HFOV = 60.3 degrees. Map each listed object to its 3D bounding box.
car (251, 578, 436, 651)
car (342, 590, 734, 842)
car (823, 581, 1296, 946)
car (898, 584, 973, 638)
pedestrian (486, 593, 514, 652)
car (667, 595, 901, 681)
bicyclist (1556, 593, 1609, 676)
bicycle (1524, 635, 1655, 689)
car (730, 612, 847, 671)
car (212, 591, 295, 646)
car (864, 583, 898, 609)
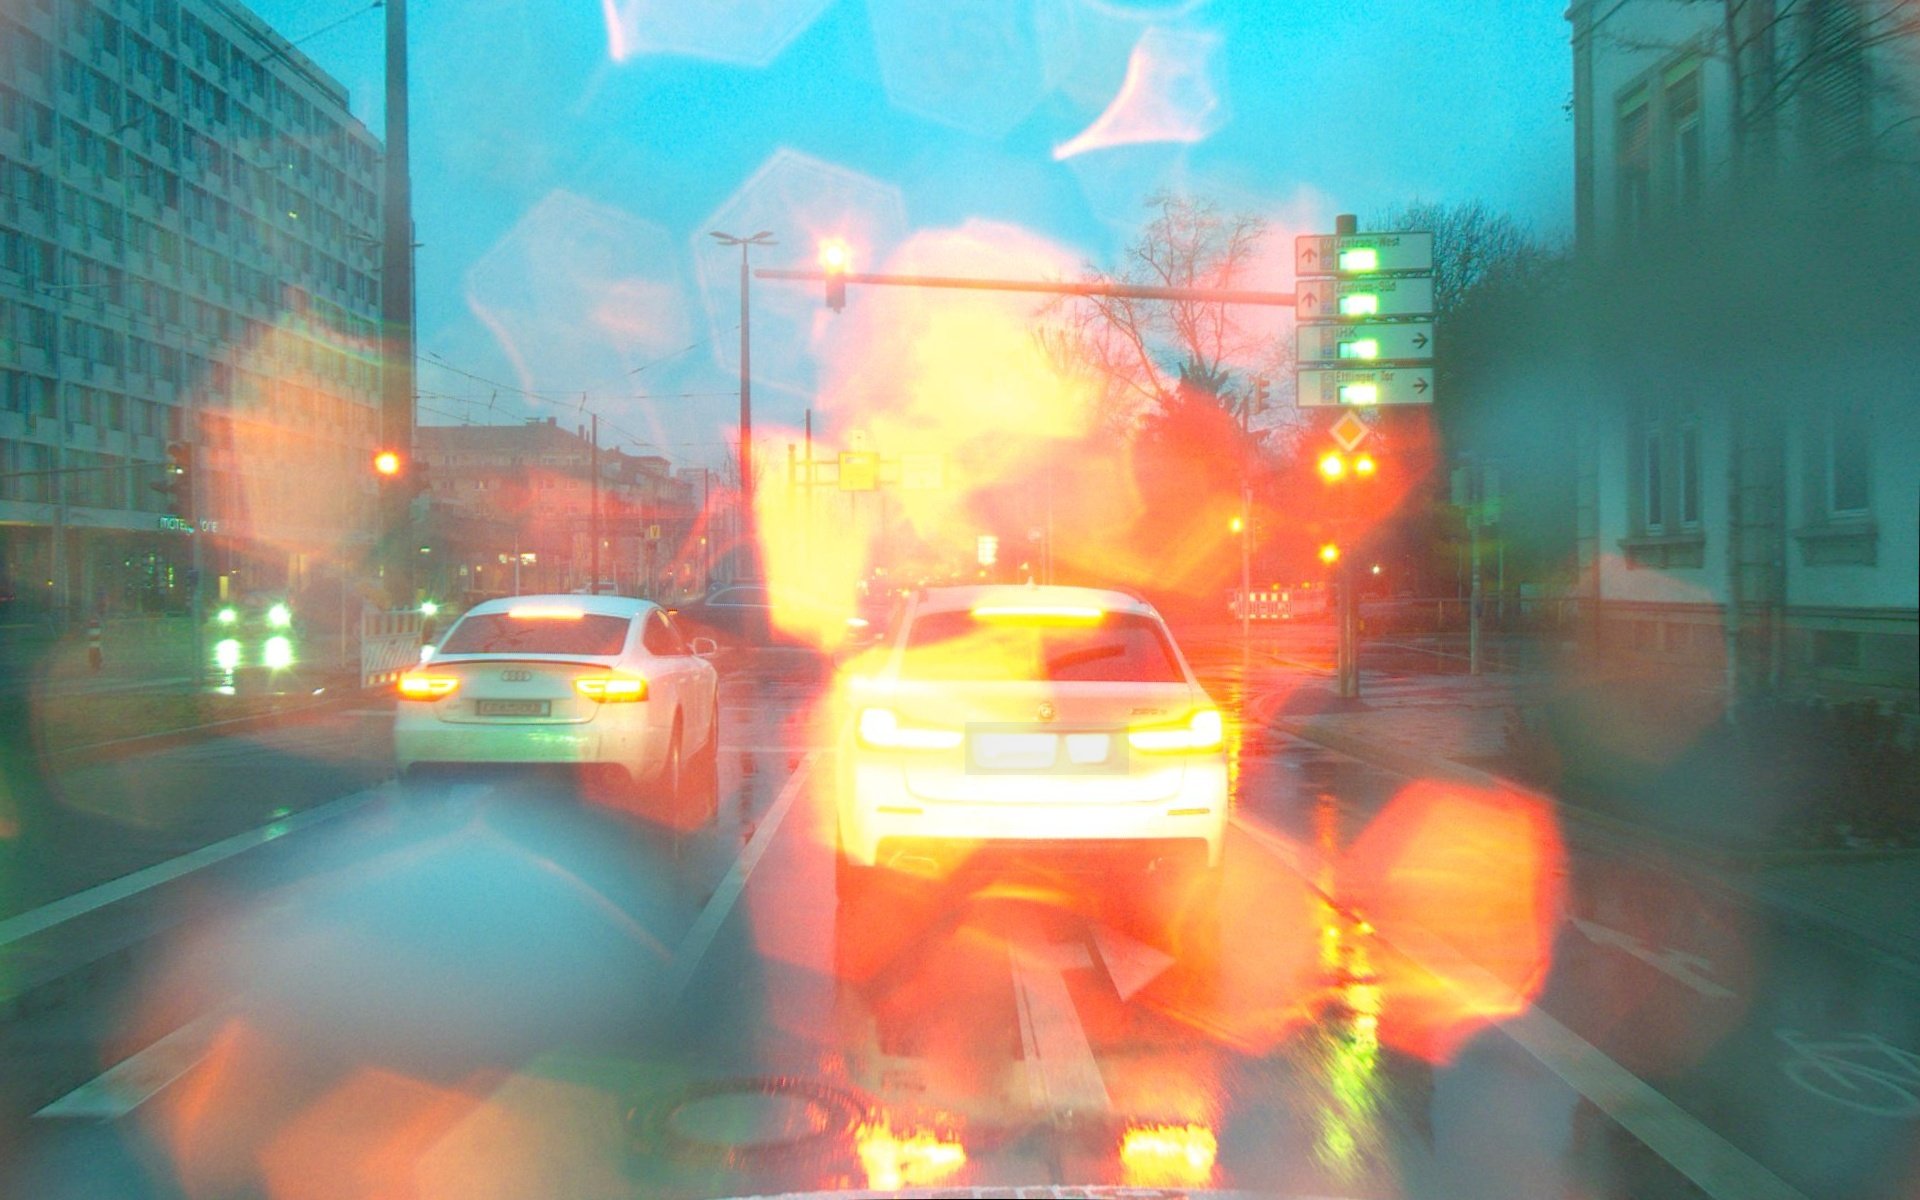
[{"bbox_3d":[-15.521,0.367,41.606,4.609,1.750,1.897,0,-1,31],"label":"car"},{"bbox_3d":[-2.828,0.679,12.132,1.954,1.481,4.366,0,1,-3],"label":"car"},{"bbox_3d":[0.309,0.641,8.974,1.954,1.481,4.366,0,1,-3],"label":"car"},{"bbox_3d":[-0.823,0.344,53.320,1.809,1.637,3.935,1,0,-10],"label":"car"},{"bbox_3d":[-13.687,0.660,49.234,0.778,1.741,0.809,1,-1,-16],"label":"pedestrian"},{"bbox_3d":[-3.743,0.792,35.368,4.596,1.750,1.870,0,-1,16],"label":"car"},{"bbox_3d":[13.728,0.747,36.486,0.951,1.789,0.814,1,-1,12],"label":"bicyclist"},{"bbox_3d":[13.845,1.354,36.446,2.610,1.108,0.815,1,-1,13],"label":"bicycle"},{"bbox_3d":[-5.025,1.203,48.998,1.805,1.637,3.944,1,0,22],"label":"car"},{"bbox_3d":[-21.171,0.524,49.487,1.739,1.557,4.282,1,0,-30],"label":"car"},{"bbox_3d":[-4.548,-0.255,95.237,1.954,1.481,4.366,0,1,-3],"label":"car"}]
